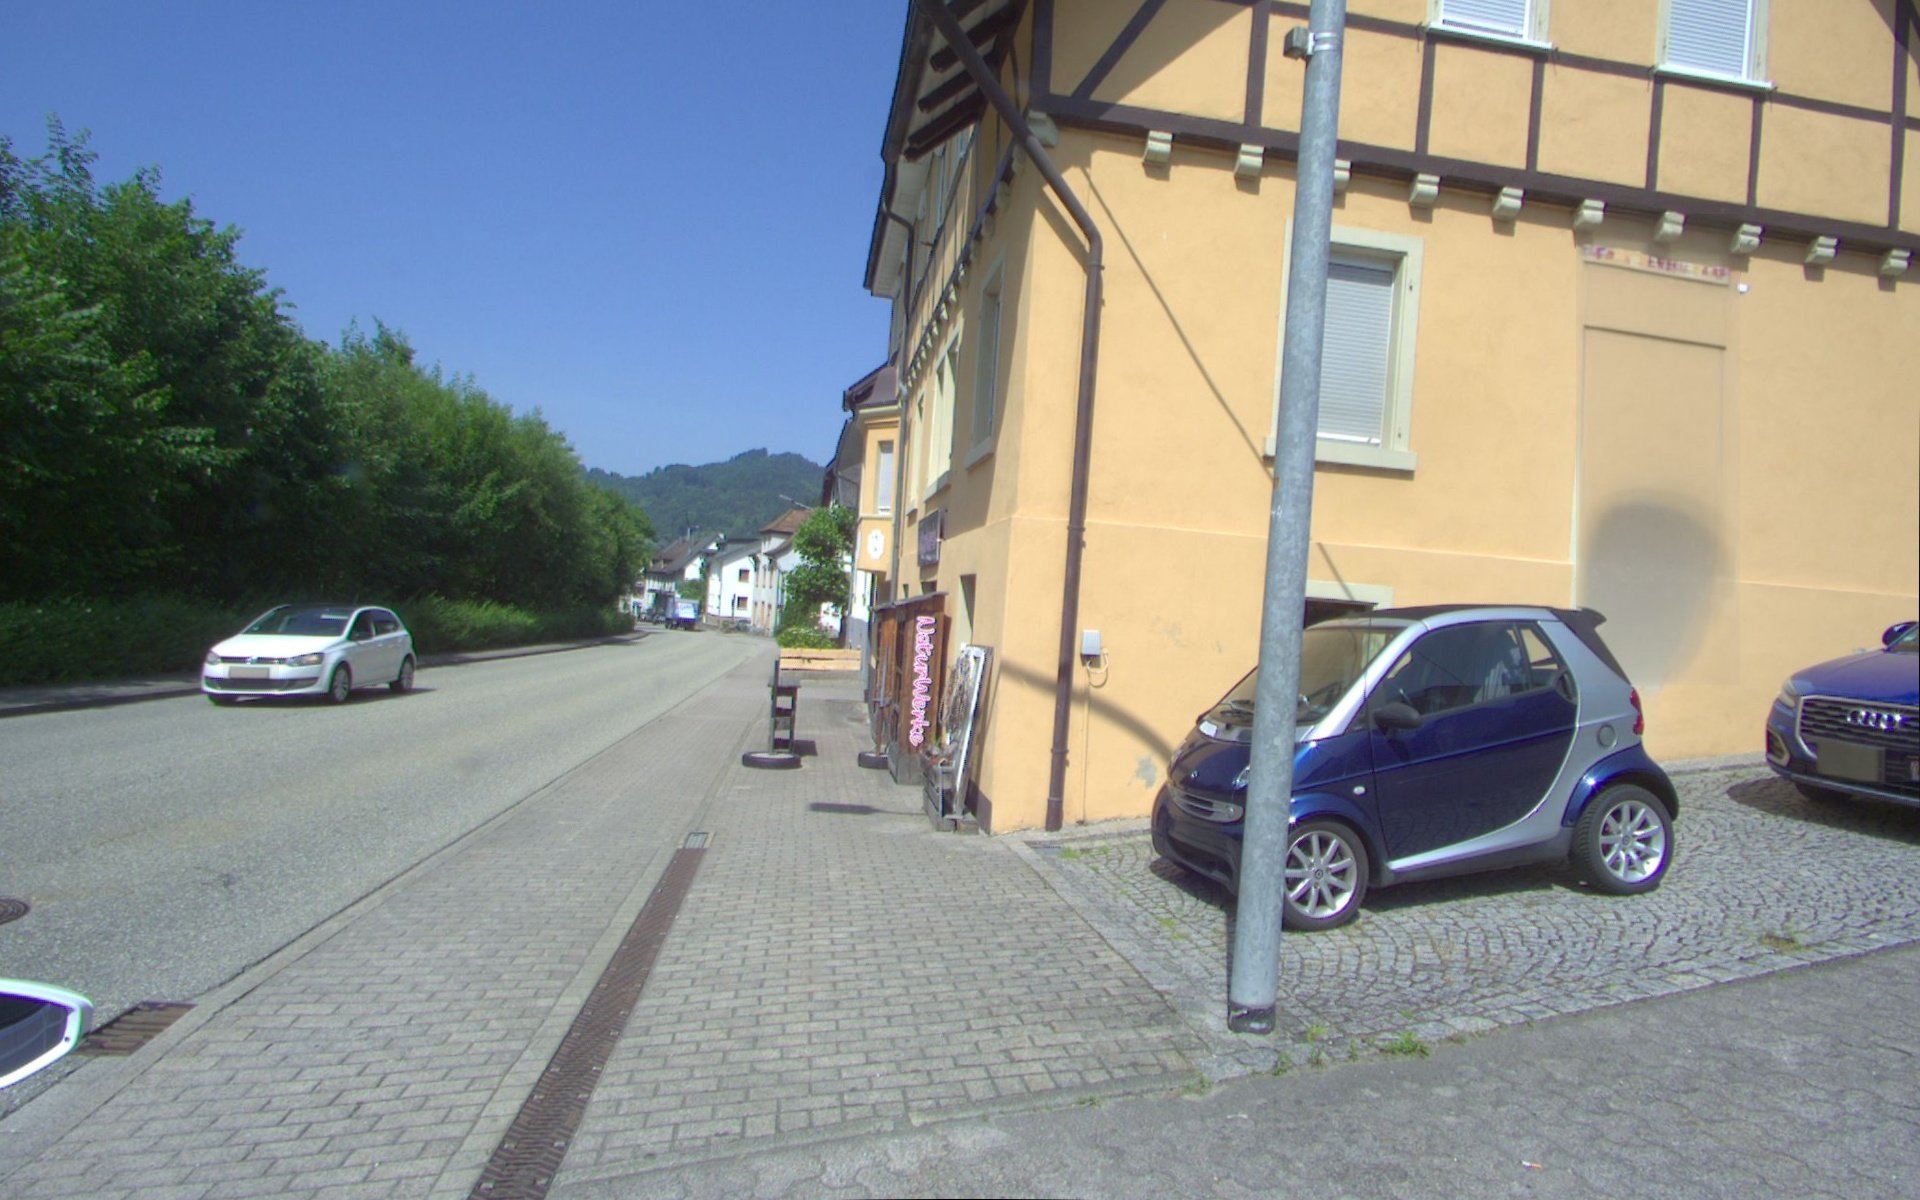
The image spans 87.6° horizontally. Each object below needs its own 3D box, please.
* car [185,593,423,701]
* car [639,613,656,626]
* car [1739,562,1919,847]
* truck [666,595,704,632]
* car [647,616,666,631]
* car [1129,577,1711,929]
[{"bbox_3d":[-9.834,0.712,15.385,1.579,1.423,3.827,1,-2,-9],"label":"car"},{"bbox_3d":[-45.720,2.874,146.380,1.967,1.905,3.989,1,-2,-22],"label":"car"},{"bbox_3d":[7.393,0.621,6.452,3.863,1.646,1.733,0,0,-14],"label":"car"},{"bbox_3d":[-30.012,1.531,109.145,3.317,3.830,8.422,0,-2,-20],"label":"truck"},{"bbox_3d":[-39.793,3.074,131.322,1.968,1.905,3.987,1,-2,-24],"label":"car"},{"bbox_3d":[2.485,0.736,5.673,2.613,1.556,1.424,-2,-1,-13],"label":"car"}]
